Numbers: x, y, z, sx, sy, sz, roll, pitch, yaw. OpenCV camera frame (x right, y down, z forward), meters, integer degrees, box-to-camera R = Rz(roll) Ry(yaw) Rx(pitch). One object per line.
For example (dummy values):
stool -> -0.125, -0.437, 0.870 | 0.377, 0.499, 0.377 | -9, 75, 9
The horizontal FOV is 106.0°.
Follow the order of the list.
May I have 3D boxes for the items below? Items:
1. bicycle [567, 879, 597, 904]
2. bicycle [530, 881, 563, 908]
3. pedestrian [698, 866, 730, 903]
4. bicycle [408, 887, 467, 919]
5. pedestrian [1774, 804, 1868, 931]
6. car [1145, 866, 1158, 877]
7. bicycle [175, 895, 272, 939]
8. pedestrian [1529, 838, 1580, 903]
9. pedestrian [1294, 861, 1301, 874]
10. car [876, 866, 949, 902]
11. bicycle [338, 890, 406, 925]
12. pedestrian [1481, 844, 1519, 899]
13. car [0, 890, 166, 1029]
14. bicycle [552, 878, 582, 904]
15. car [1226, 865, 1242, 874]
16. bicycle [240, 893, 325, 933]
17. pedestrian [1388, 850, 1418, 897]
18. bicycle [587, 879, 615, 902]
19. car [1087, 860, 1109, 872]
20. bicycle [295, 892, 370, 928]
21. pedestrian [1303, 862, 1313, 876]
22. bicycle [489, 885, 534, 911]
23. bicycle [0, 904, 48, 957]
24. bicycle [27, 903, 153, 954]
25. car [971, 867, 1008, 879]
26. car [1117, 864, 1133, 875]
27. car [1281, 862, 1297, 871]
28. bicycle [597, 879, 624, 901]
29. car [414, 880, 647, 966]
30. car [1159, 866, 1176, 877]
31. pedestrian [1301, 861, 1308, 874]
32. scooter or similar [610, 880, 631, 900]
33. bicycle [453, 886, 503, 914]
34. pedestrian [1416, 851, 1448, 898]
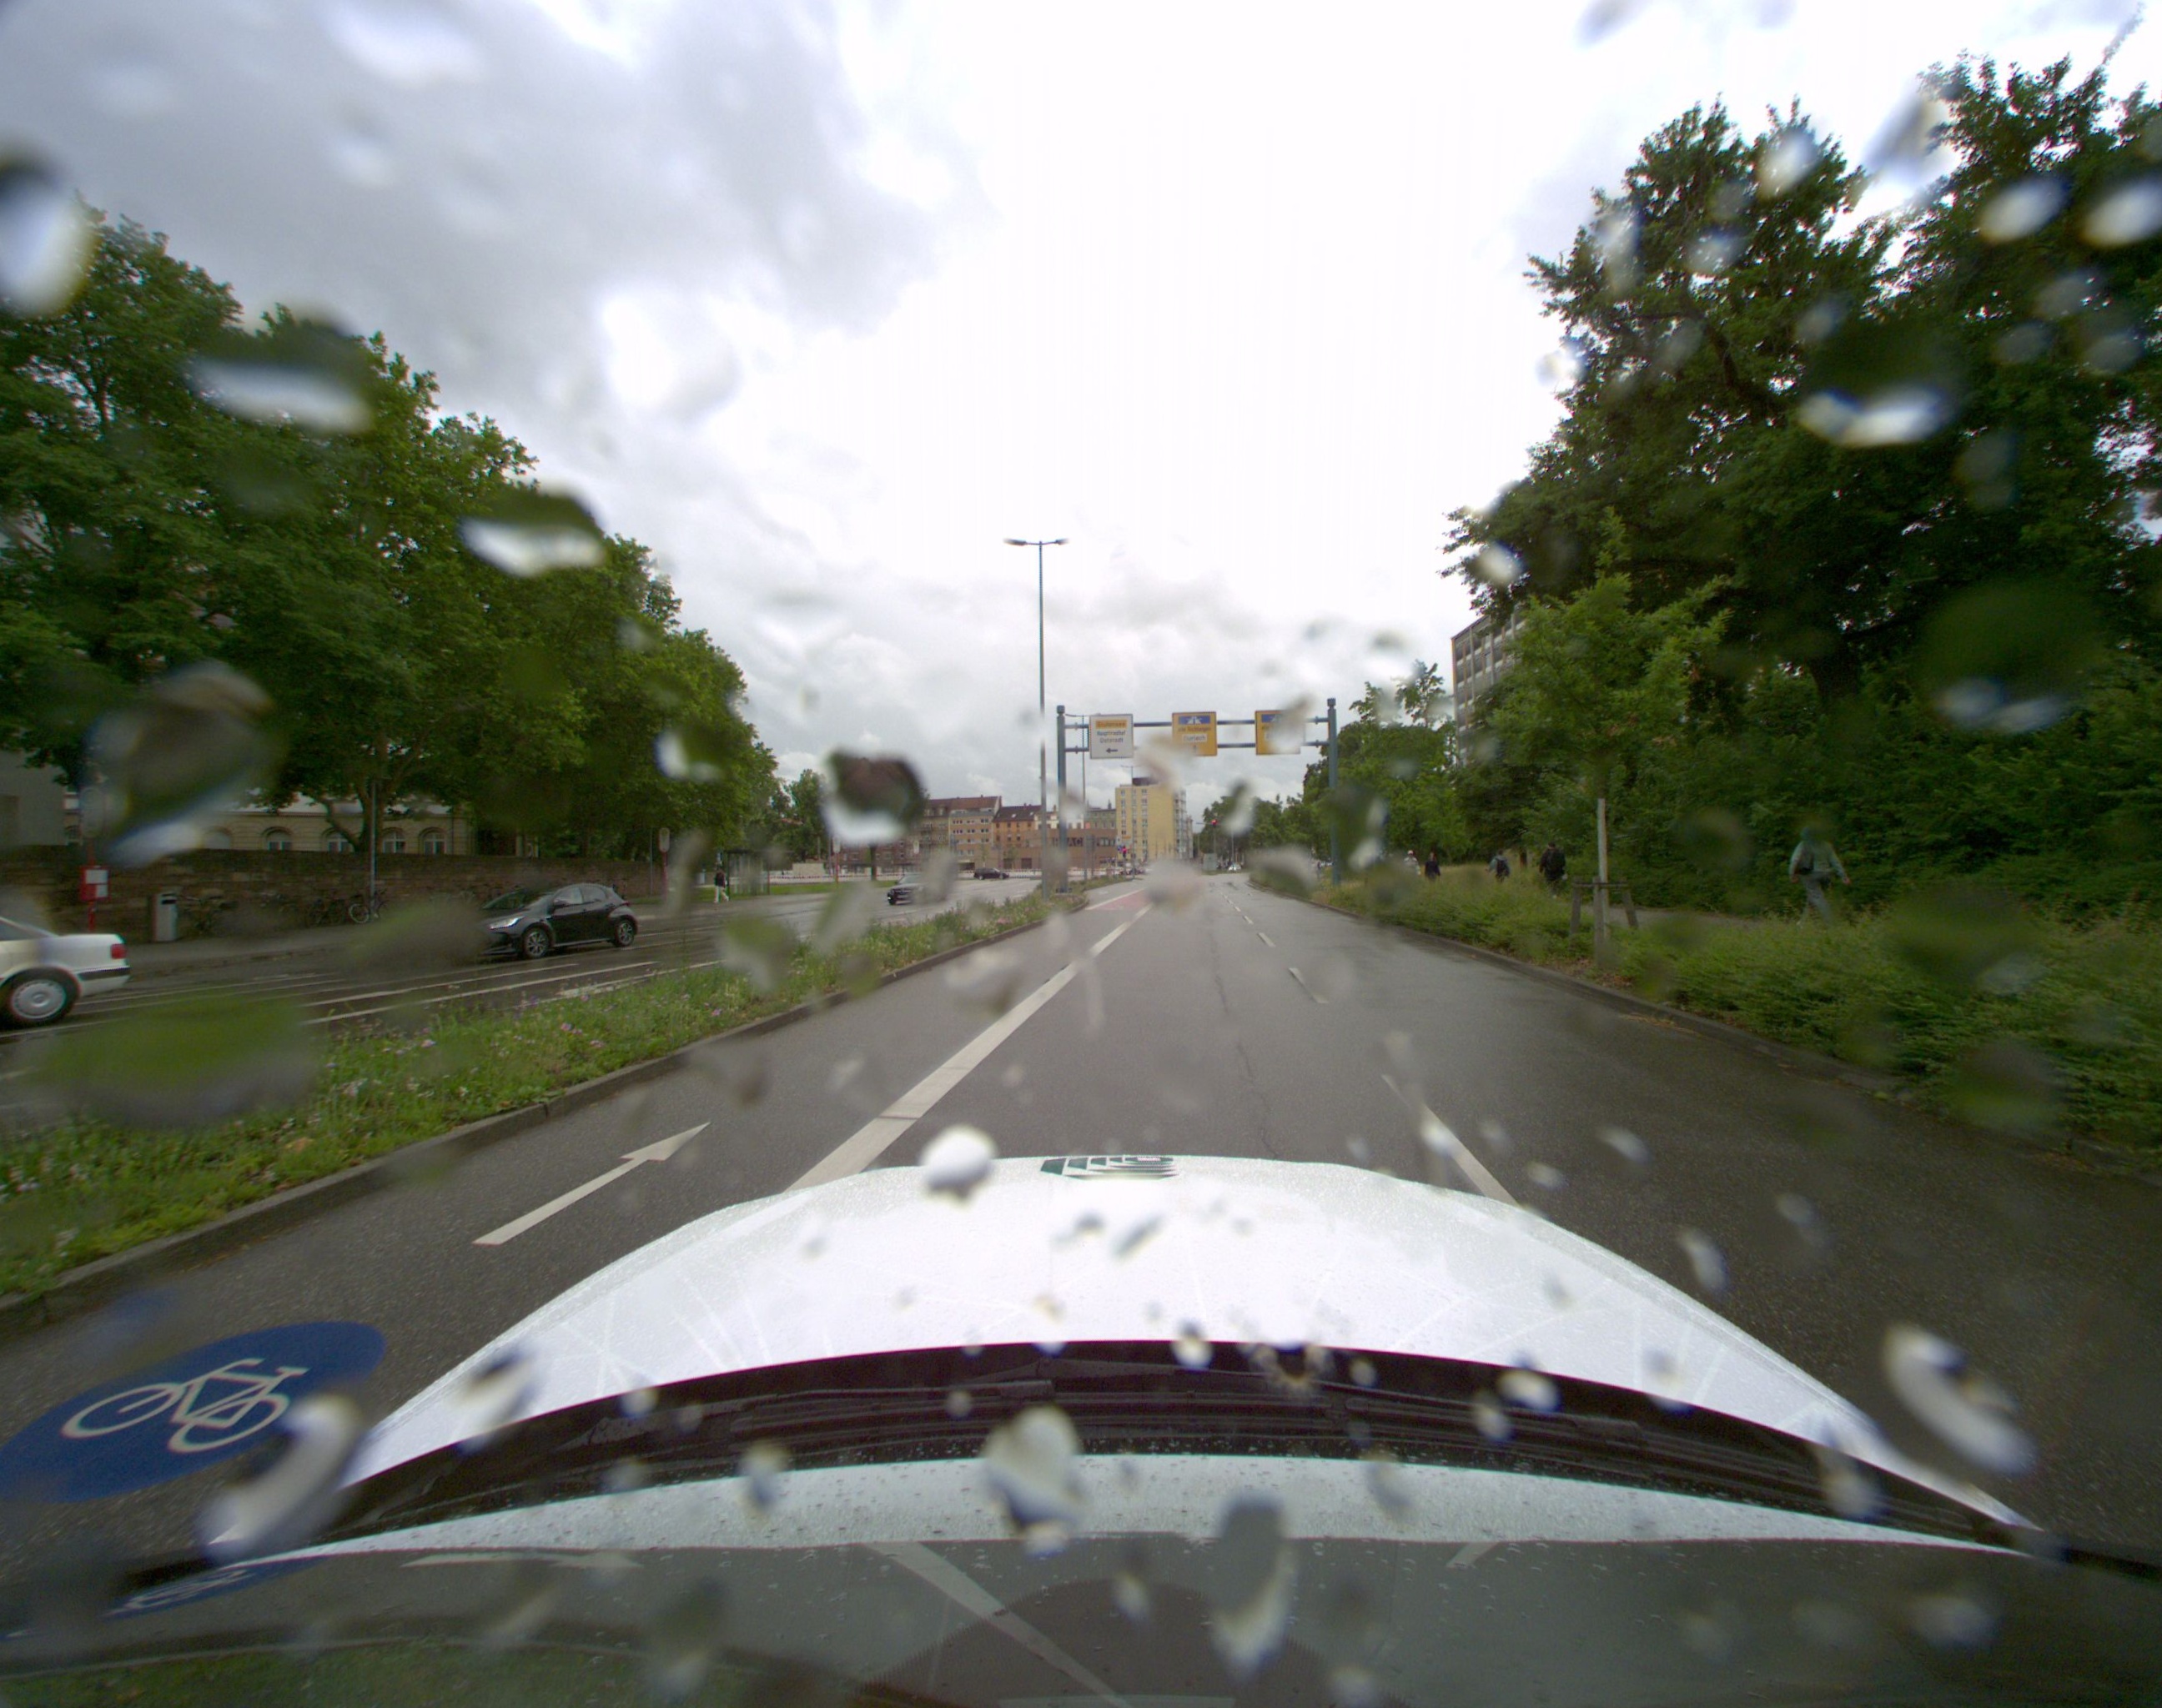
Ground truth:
bicycle -> -24.724, 1.857, 40.380 | 0.573, 1.136, 1.985 | -1, -1, -9
bicycle -> -23.638, 1.784, 36.043 | 0.573, 1.136, 1.982 | -1, -1, -13
pedestrian -> -17.281, 1.422, 38.362 | 0.865, 1.696, 1.400 | -1, -1, 0
bicycle -> -21.949, 1.660, 27.818 | 0.730, 0.983, 1.698 | -1, -1, -4
pedestrian -> 12.102, 0.226, 13.355 | 0.785, 2.014, 0.831 | -1, -1, 13
car -> 10.453, 2.591, 120.602 | 1.669, 1.404, 4.167 | -2, -1, 8
bicycle -> -21.699, 1.576, 20.653 | 0.730, 0.983, 1.698 | -1, -1, -4
pedestrian -> 13.071, 0.451, 22.516 | 0.927, 1.747, 1.049 | -1, -1, 13
pedestrian -> 26.347, 1.669, 99.009 | 0.747, 1.588, 0.941 | -1, -1, 20
car -> -8.084, 1.430, 39.594 | 1.797, 1.540, 4.716 | -3, -1, 10
bicycle -> -22.126, 1.655, 25.466 | 0.730, 0.983, 1.698 | -1, -1, -4
pedestrian -> 14.159, 0.593, 27.559 | 0.927, 1.797, 0.831 | -1, -1, 13
car -> -12.284, 1.161, 7.804 | 1.587, 1.415, 4.533 | -3, -1, 7
bicycle -> -24.211, 1.738, 38.382 | 0.573, 1.136, 1.982 | -1, -1, -13
car -> 28.923, 2.912, 154.125 | 1.663, 1.501, 3.892 | -3, -1, 30
bicycle -> -21.917, 1.600, 22.389 | 0.730, 0.983, 1.698 | -1, -1, -4
pedestrian -> 12.144, 0.731, 30.736 | 0.927, 1.720, 0.831 | 0, 2, 11
bicycle -> -25.096, 1.891, 42.620 | 0.573, 1.136, 1.985 | -1, -1, -9
car -> 4.351, 3.135, 213.862 | 5.314, 2.887, 2.347 | -1, -1, 12
bicycle -> -22.117, 1.639, 24.112 | 0.730, 0.983, 1.698 | -1, -1, -4
pedestrian -> 26.462, 1.709, 94.869 | 1.014, 1.588, 0.941 | -1, -1, 20
bicycle -> -23.027, 1.765, 32.950 | 0.730, 0.983, 1.698 | -1, -1, -4
bicycle -> -21.395, 1.514, 15.743 | 0.730, 0.983, 1.698 | -1, -1, -4
bicycle -> -21.698, 1.602, 17.886 | 0.730, 0.983, 1.698 | -1, -1, -4
car -> -11.118, 2.353, 99.219 | 4.173, 1.402, 1.619 | -1, -1, 3
car -> 6.627, 2.363, 123.624 | 1.693, 1.706, 3.834 | -1, -1, 14
car -> 38.755, 2.248, 151.702 | 1.773, 1.643, 4.185 | -1, -1, 32
bicycle -> -25.724, 1.951, 44.574 | 0.573, 1.136, 1.985 | -1, -1, -9
car -> -11.060, 1.311, 16.763 | 1.615, 1.415, 4.074 | -3, -1, 7
car -> 13.841, 2.827, 129.983 | 1.980, 1.636, 4.619 | -3, -1, 13
pedestrian -> 27.006, 1.647, 98.487 | 0.697, 1.588, 0.941 | -1, -1, 20
scooter or similar -> -26.004, 2.032, 45.990 | 0.572, 1.047, 1.358 | -1, -1, -9
bicycle -> -22.780, 1.715, 30.809 | 0.730, 0.983, 1.698 | -1, -1, -4
pedestrian -> 13.060, 0.757, 30.293 | 0.927, 1.703, 0.831 | 0, 2, 11
